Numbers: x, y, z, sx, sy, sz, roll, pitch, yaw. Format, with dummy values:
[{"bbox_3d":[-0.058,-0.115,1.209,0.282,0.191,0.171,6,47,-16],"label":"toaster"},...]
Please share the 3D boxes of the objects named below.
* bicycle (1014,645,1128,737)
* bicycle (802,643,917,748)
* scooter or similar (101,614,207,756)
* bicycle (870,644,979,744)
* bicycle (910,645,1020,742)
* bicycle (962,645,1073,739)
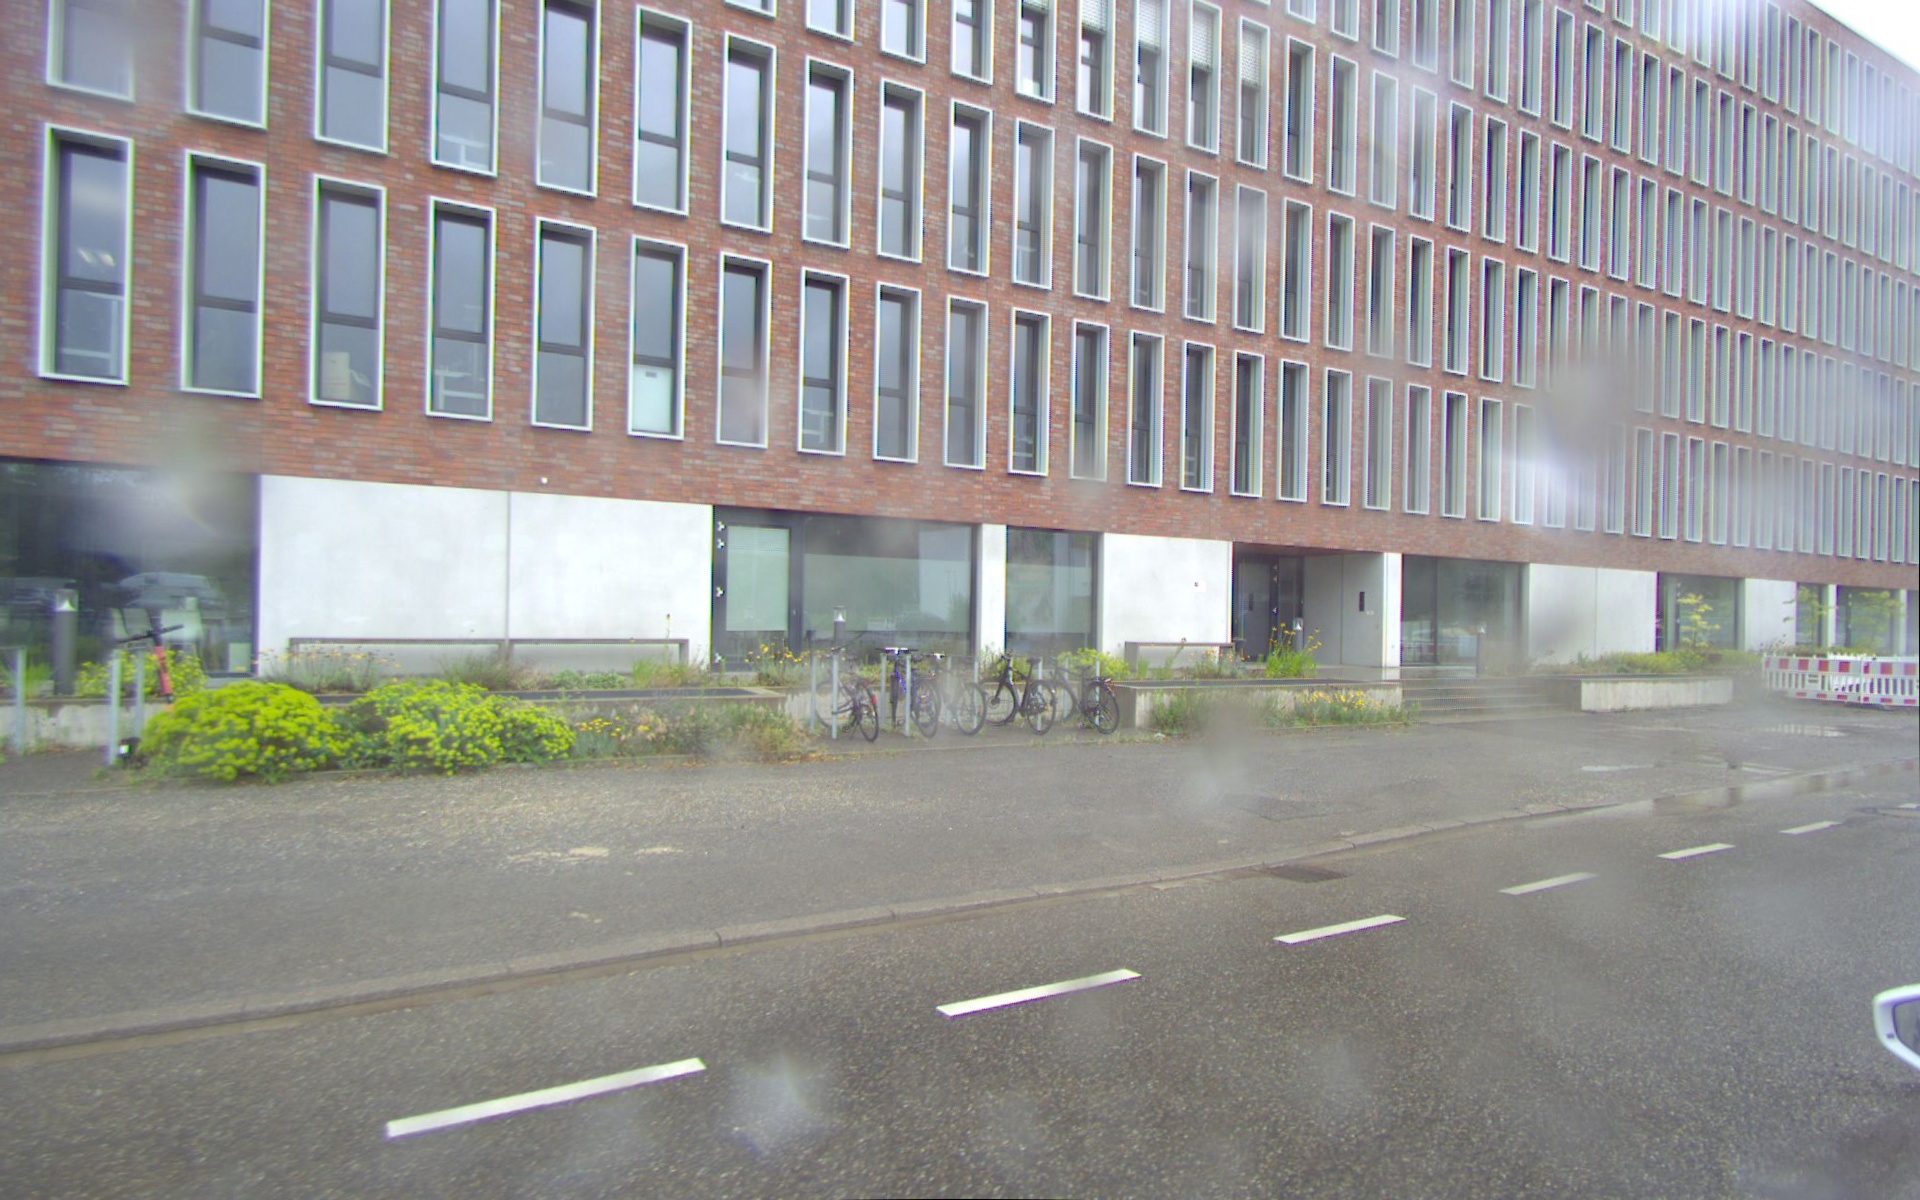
[{"bbox_3d":[1.513,1.231,14.011,0.538,1.091,1.850,2,0,-31],"label":"bicycle"},{"bbox_3d":[-1.276,1.134,12.386,0.613,1.091,1.938,2,0,-31],"label":"bicycle"},{"bbox_3d":[-7.465,0.758,9.347,0.411,1.224,1.224,1,-2,-22],"label":"scooter or similar"},{"bbox_3d":[-0.493,1.163,12.876,0.538,1.091,1.850,2,0,-31],"label":"bicycle"},{"bbox_3d":[0.029,1.183,13.199,0.538,1.091,1.850,2,0,-31],"label":"bicycle"},{"bbox_3d":[0.743,1.204,13.630,0.538,1.091,1.850,2,0,-31],"label":"bicycle"}]
